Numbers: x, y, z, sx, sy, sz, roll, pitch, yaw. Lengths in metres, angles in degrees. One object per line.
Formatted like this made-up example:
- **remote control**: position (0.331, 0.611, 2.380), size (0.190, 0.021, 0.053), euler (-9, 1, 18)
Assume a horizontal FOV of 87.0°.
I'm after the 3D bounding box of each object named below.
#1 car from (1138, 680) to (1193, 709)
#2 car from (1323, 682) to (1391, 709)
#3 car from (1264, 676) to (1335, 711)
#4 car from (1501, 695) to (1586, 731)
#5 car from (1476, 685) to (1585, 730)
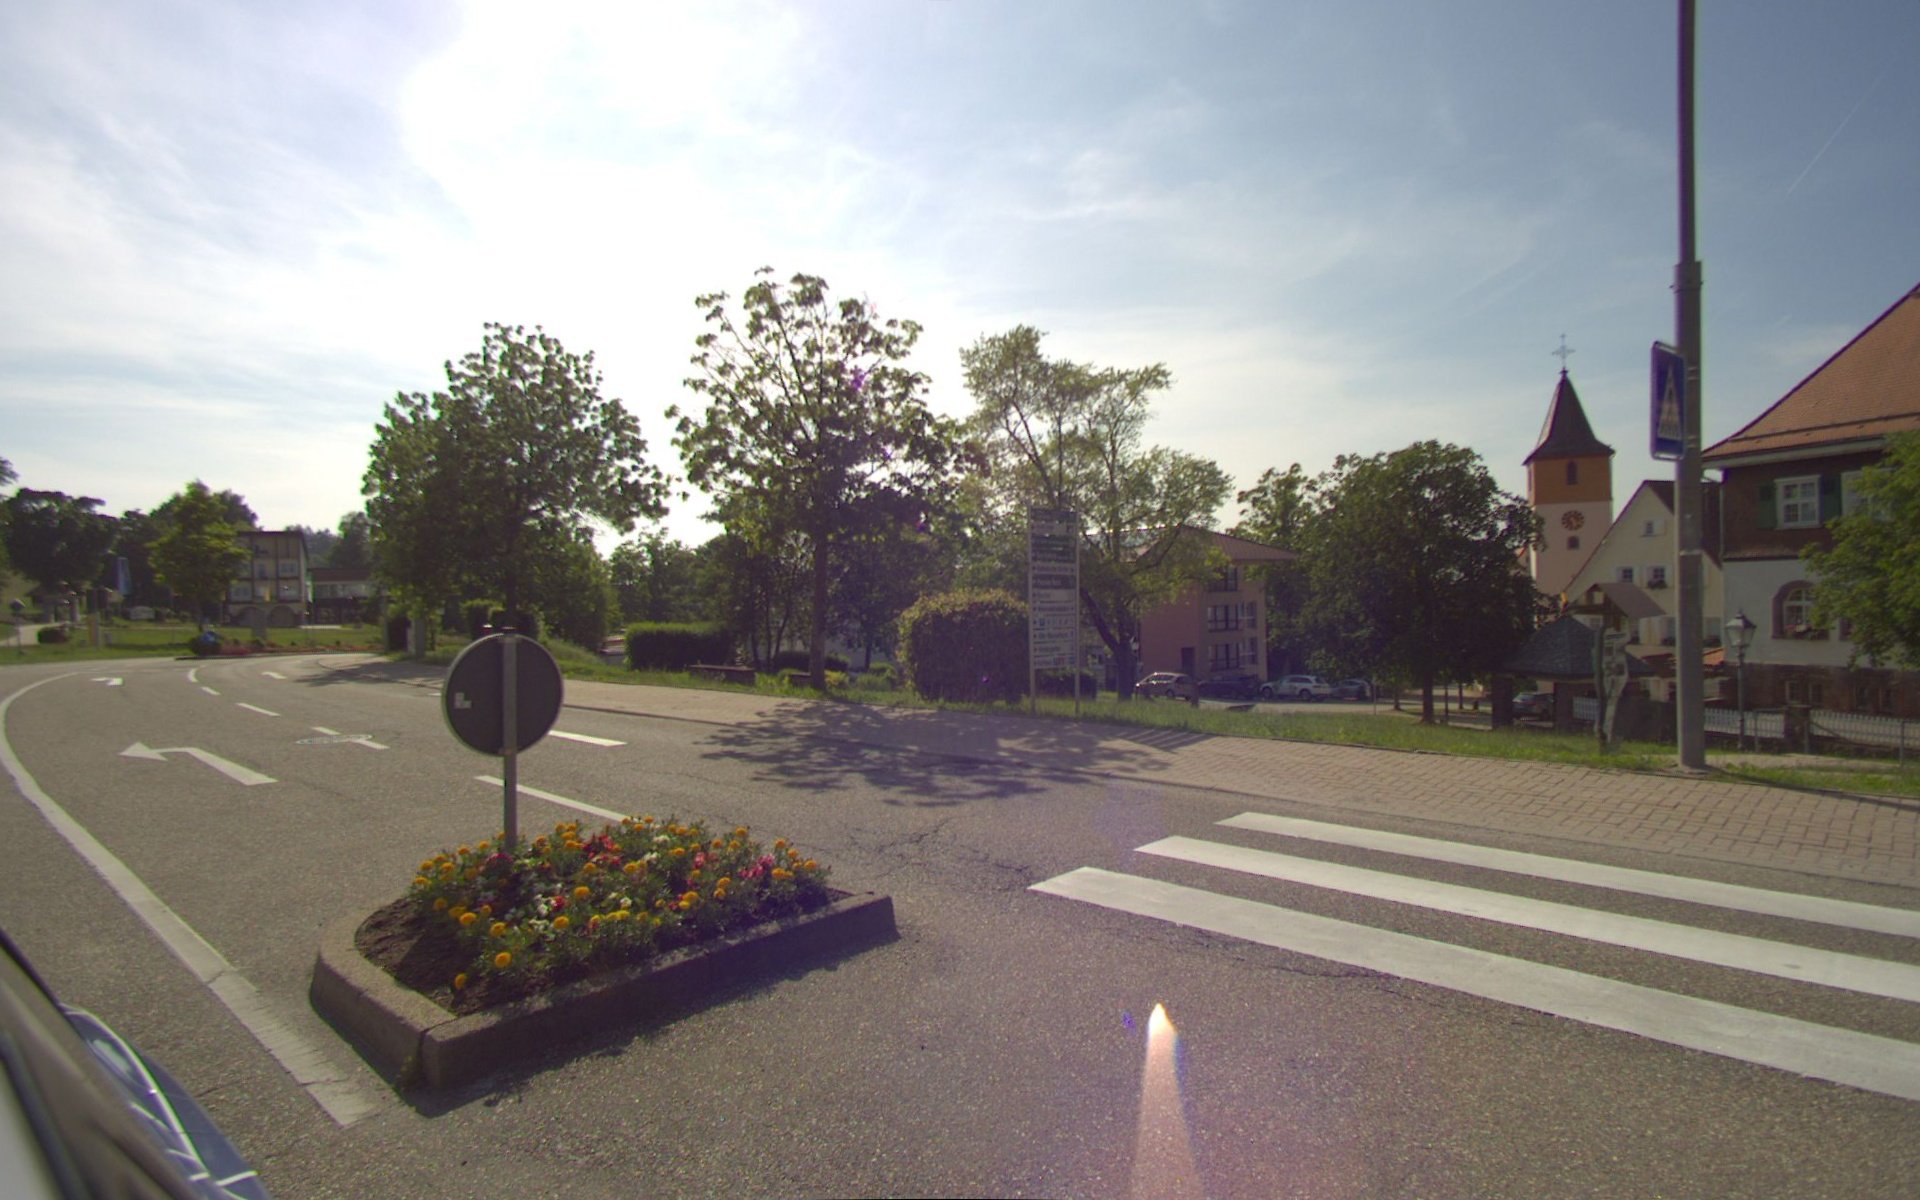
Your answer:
- **car**: position (12.397, 5.684, 61.087), size (1.542, 1.652, 2.978), euler (2, -4, -36)
- **car**: position (27.841, 6.662, 71.041), size (1.967, 1.676, 4.008), euler (4, -4, -37)
- **car**: position (22.159, 6.071, 66.172), size (1.967, 2.029, 4.008), euler (4, -4, -37)
- **car**: position (30.102, 5.817, 52.206), size (3.931, 1.630, 2.006), euler (2, -3, -28)
- **car**: position (22.123, 4.156, 39.395), size (1.551, 1.478, 3.513), euler (1, -2, -20)
